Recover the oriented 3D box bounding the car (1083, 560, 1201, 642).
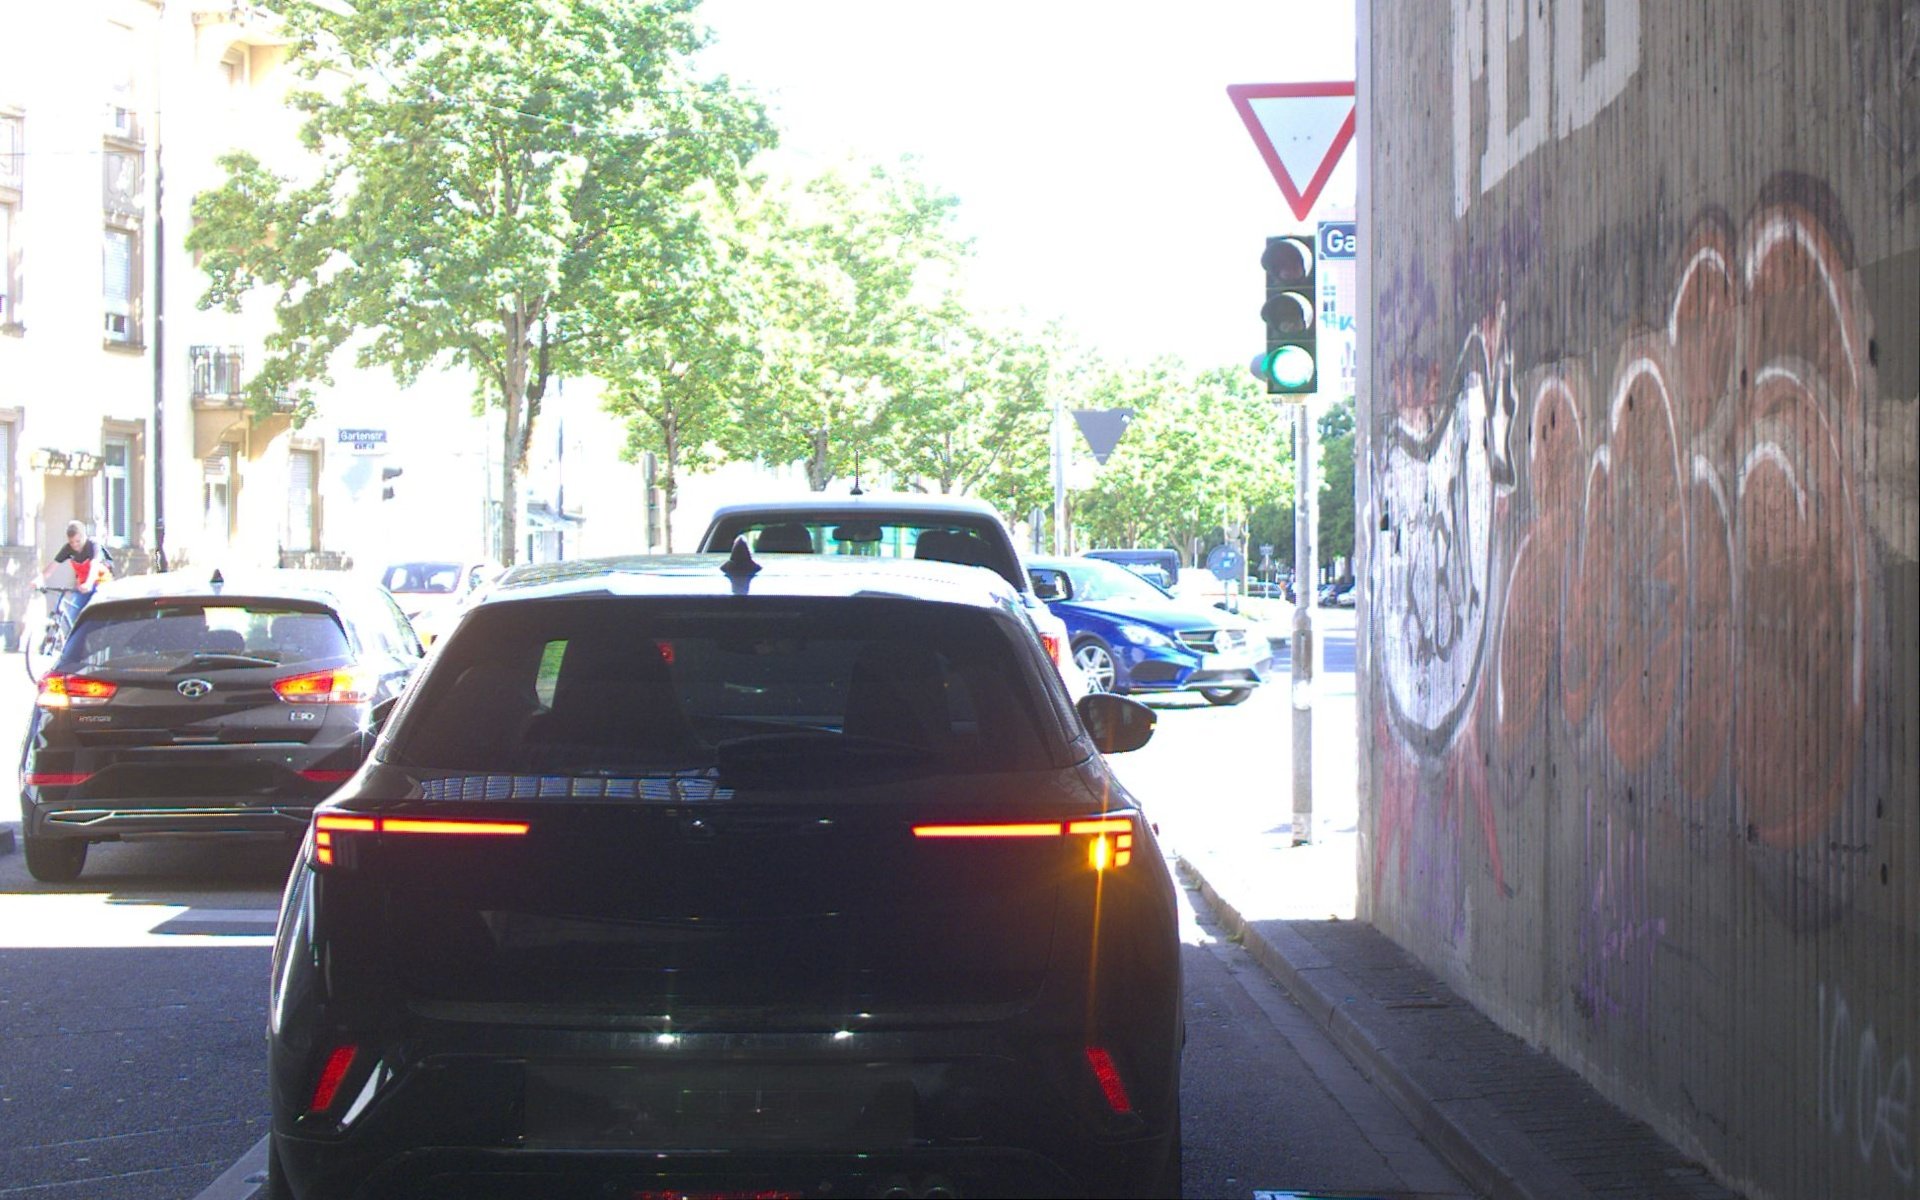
[{"bbox_3d":[3.624,0.000,67.910,1.705,1.507,3.861,-2,0,12],"label":"car"}]

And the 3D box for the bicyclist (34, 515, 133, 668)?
[{"bbox_3d":[-9.565,-0.098,37.538,0.782,1.654,1.031,0,1,2],"label":"bicyclist"}]

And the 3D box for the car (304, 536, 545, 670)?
[{"bbox_3d":[-5.988,0.006,38.776,1.658,1.436,3.462,0,1,10],"label":"car"}]

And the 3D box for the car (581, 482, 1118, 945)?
[{"bbox_3d":[-0.597,0.419,16.140,2.133,1.829,4.941,0,1,-4],"label":"car"}]

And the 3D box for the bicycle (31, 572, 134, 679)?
[{"bbox_3d":[-9.561,0.261,37.515,0.541,1.119,2.058,0,1,2],"label":"bicycle"}]

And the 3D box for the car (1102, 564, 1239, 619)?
[{"bbox_3d":[8.065,-0.333,131.784,4.883,2.076,1.986,-1,0,-24],"label":"car"}]

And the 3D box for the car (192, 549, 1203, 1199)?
[{"bbox_3d":[-0.470,0.654,7.979,1.781,1.512,3.755,1,1,0],"label":"car"}]

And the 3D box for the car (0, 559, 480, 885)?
[{"bbox_3d":[-3.554,0.526,17.684,1.800,1.446,4.327,0,1,-3],"label":"car"}]

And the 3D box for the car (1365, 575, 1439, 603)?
[{"bbox_3d":[24.637,-0.605,191.764,3.947,1.392,1.516,-2,0,2],"label":"car"}]

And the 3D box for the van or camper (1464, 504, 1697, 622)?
[{"bbox_3d":[16.984,-0.998,94.238,6.081,2.919,2.574,-2,0,10],"label":"van or camper"}]

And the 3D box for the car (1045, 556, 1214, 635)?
[{"bbox_3d":[5.628,-0.155,114.294,5.259,2.537,1.986,-1,0,-14],"label":"car"}]
